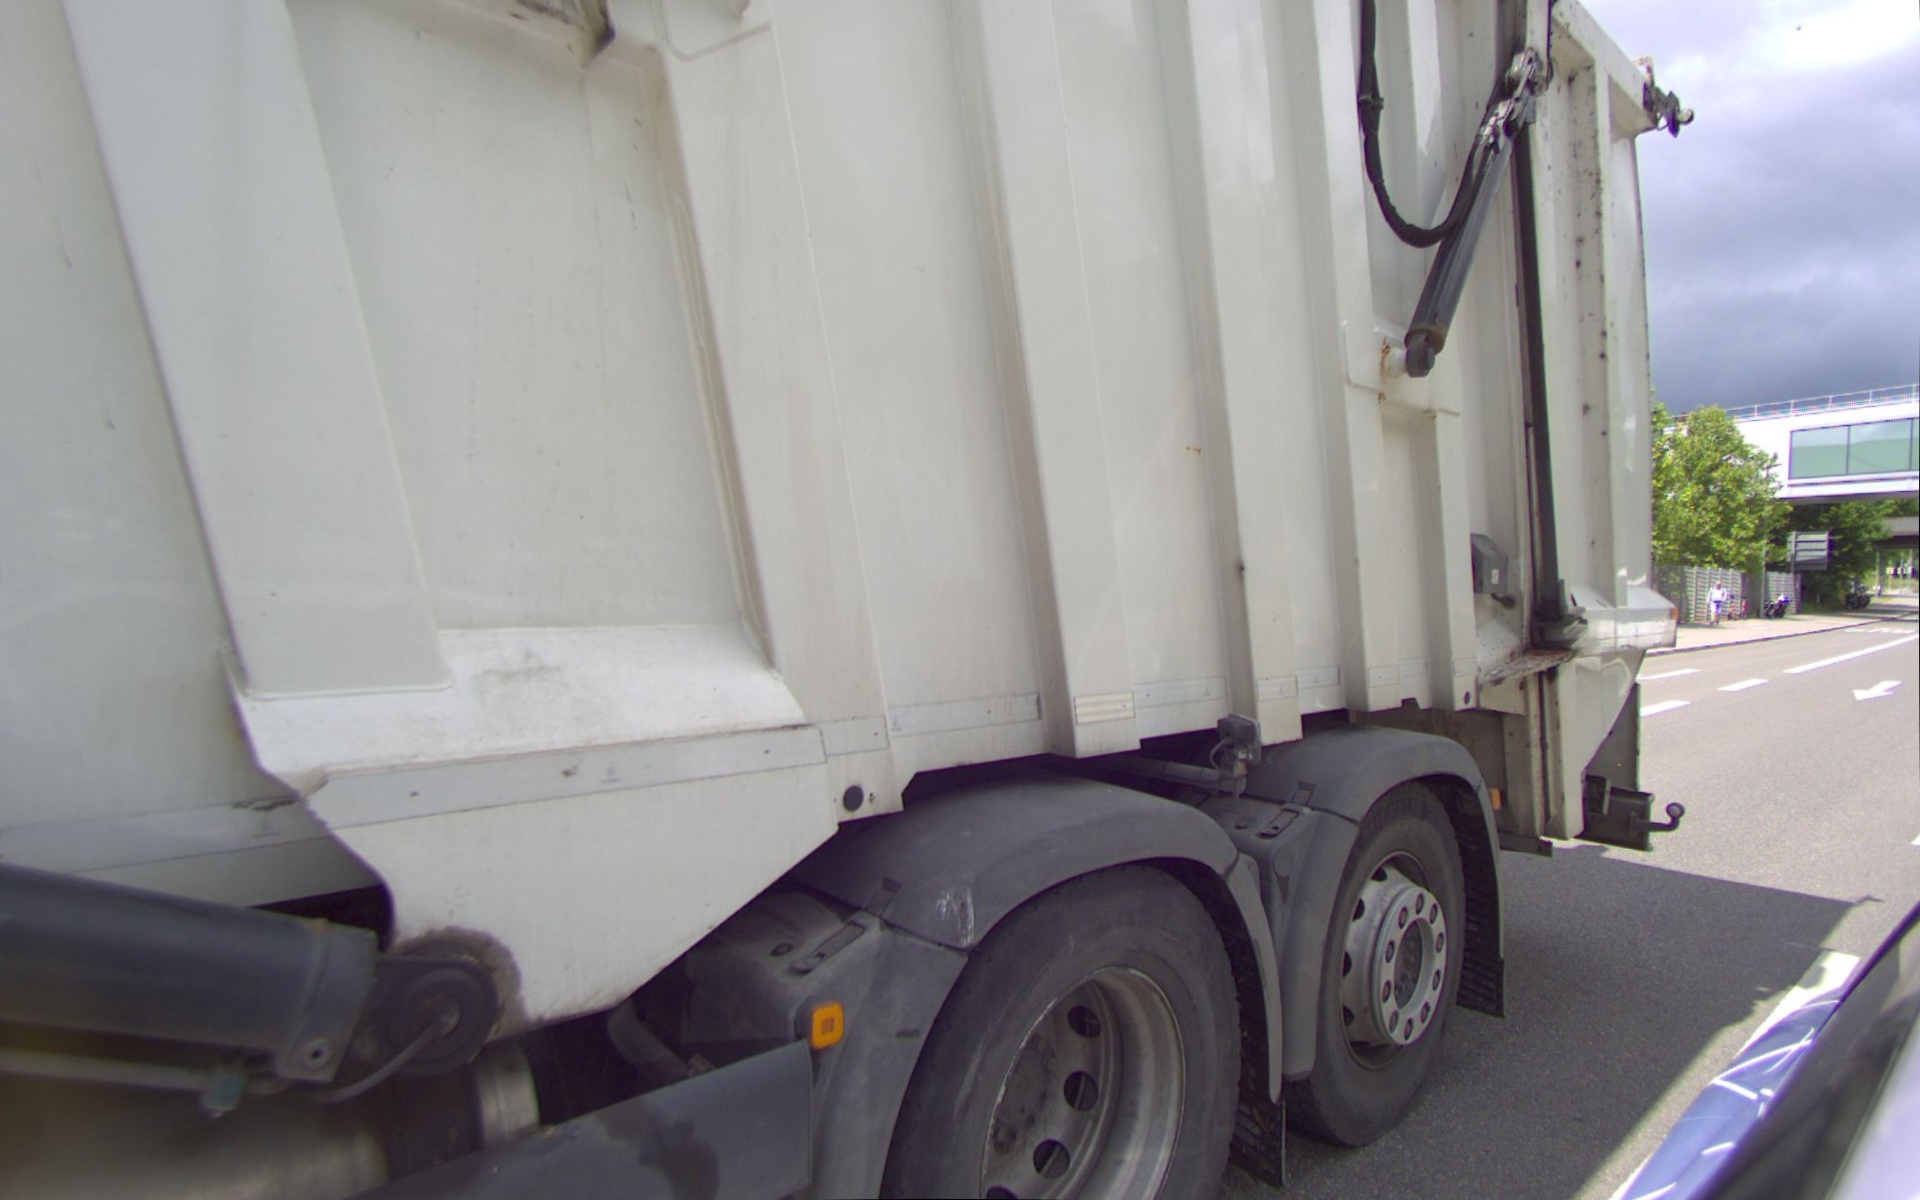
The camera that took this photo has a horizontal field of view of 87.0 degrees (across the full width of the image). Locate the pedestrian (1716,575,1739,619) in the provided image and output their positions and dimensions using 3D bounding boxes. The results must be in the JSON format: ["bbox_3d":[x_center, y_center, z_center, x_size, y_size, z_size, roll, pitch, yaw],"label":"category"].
[{"bbox_3d":[34.126,-0.130,45.018,0.737,1.936,0.648,0,0,44],"label":"pedestrian"}]

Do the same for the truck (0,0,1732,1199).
[{"bbox_3d":[-0.845,-0.584,2.442,9.999,3.962,2.492,-1,0,-42],"label":"truck"}]
